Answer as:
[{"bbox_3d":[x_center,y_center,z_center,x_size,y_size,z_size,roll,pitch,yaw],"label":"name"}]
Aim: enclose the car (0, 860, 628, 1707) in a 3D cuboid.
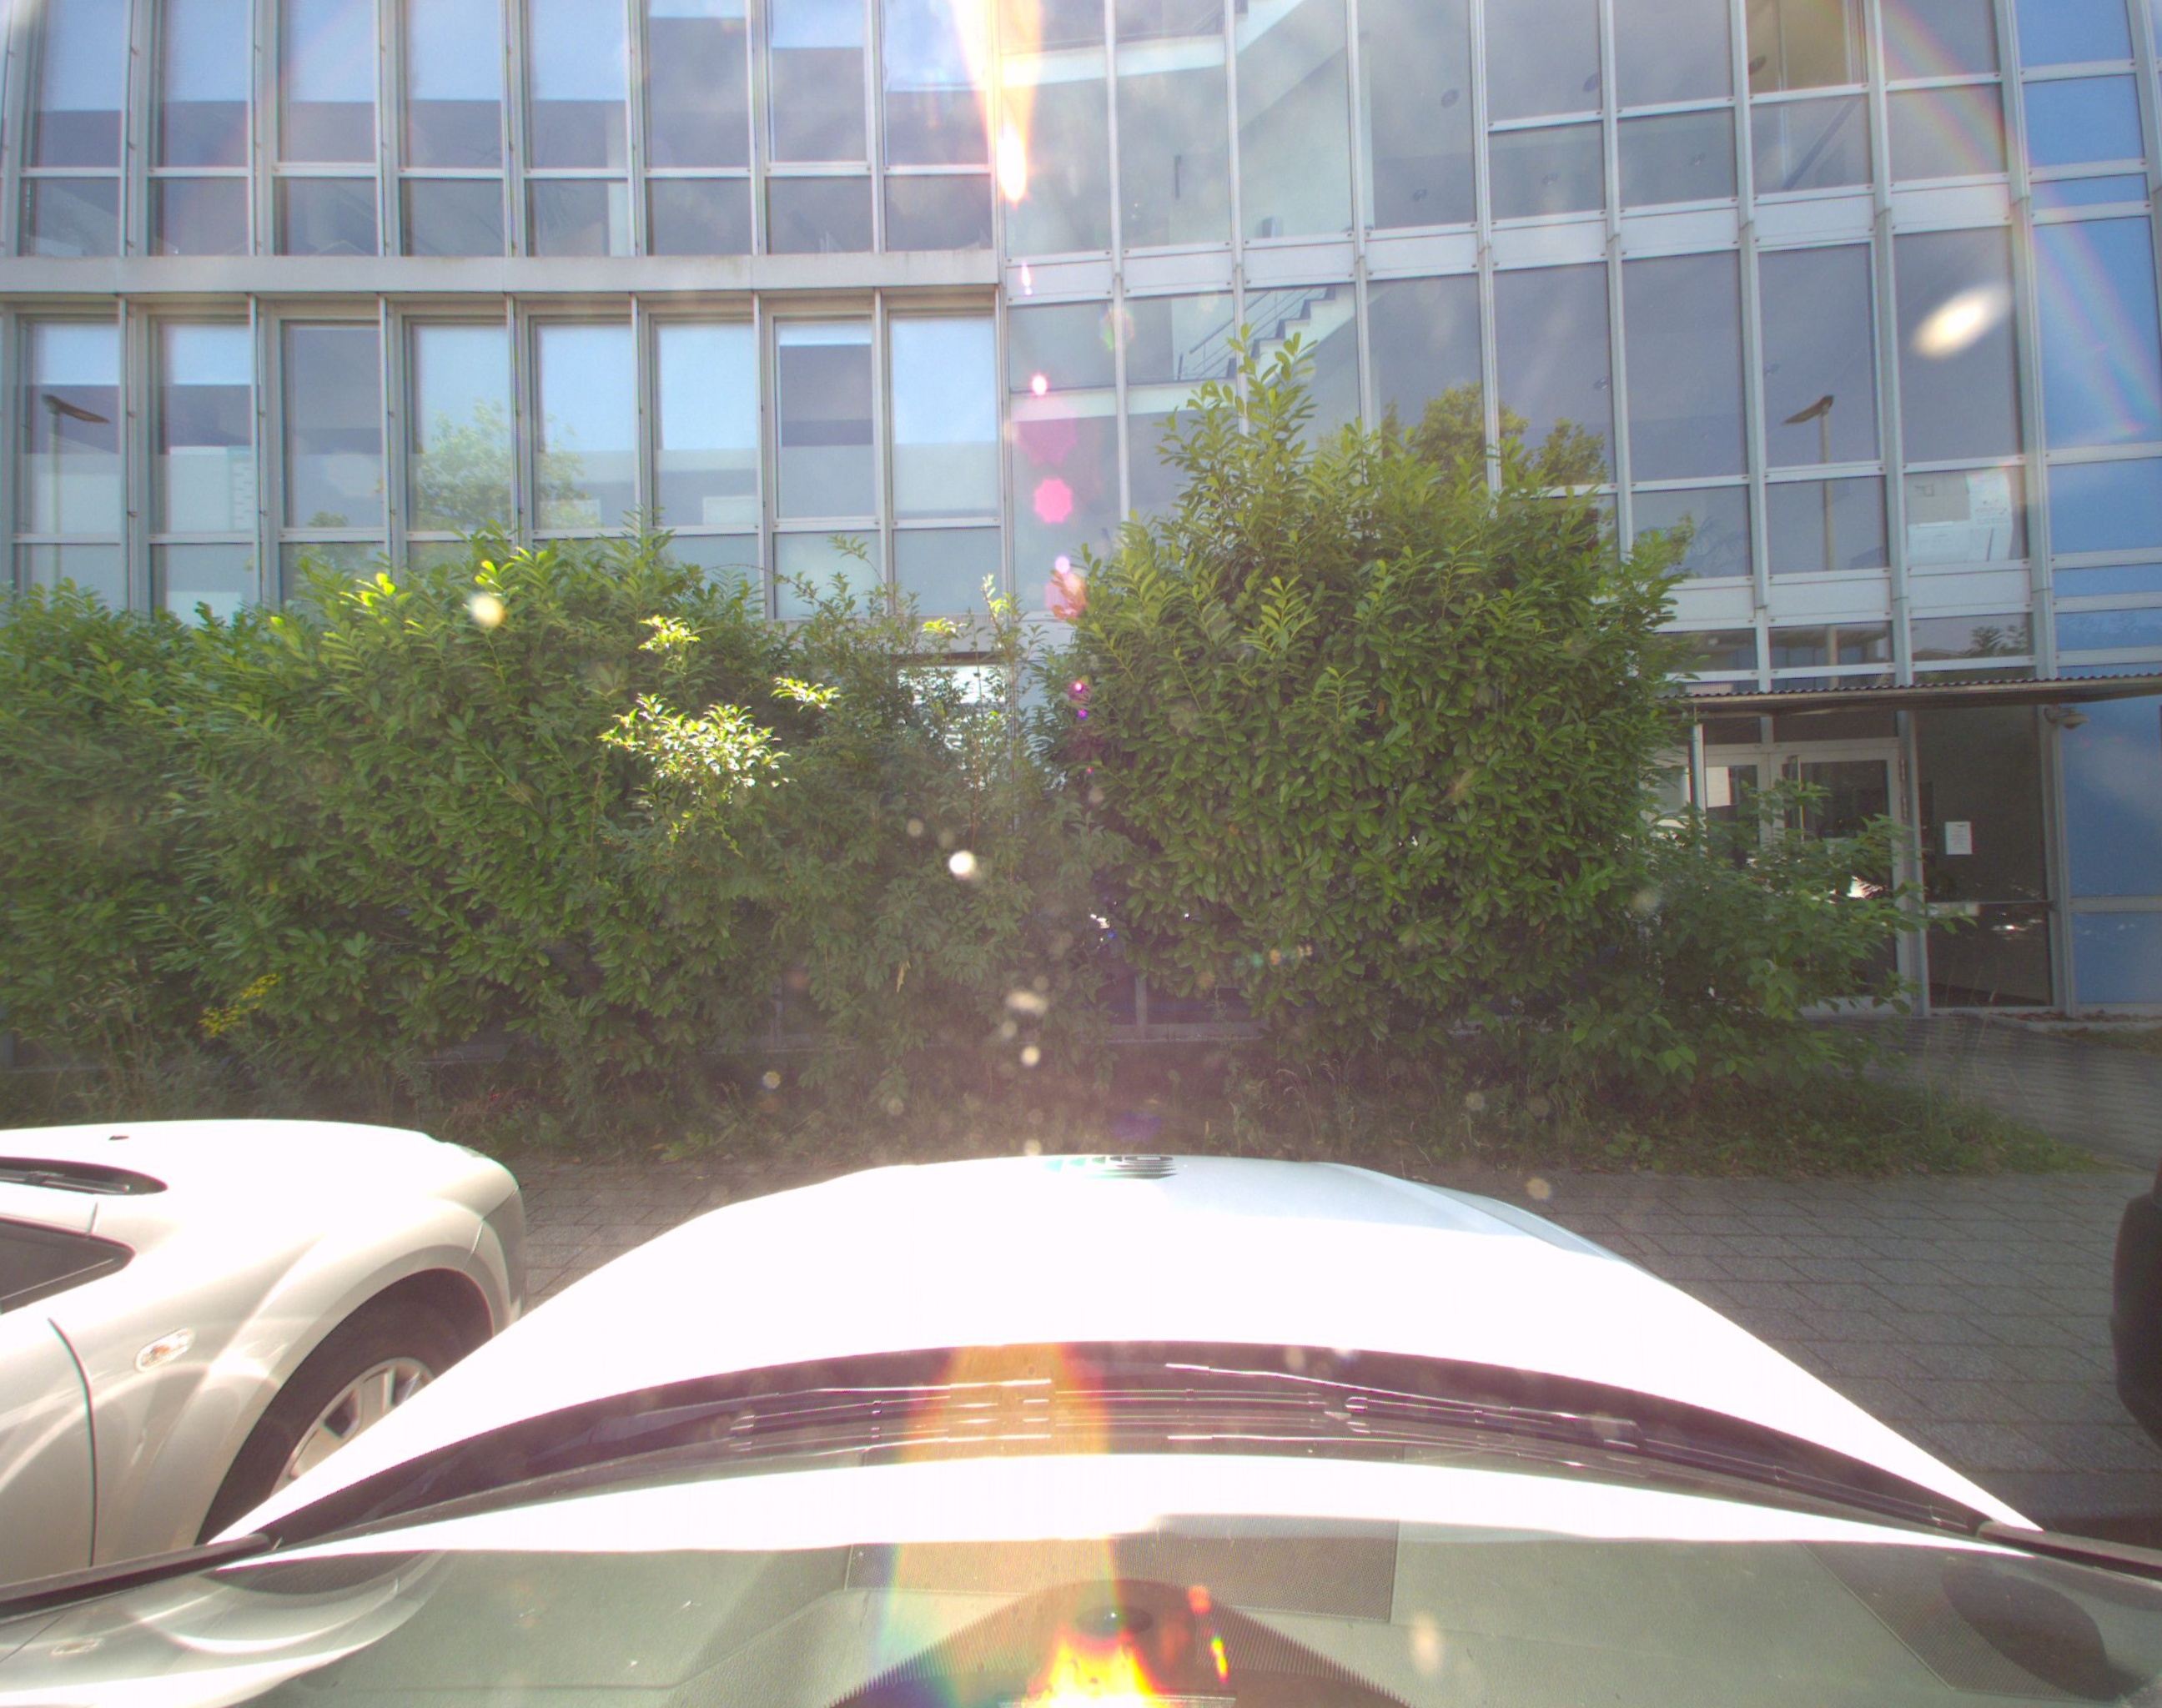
[{"bbox_3d":[-2.209,0.763,0.170,1.713,1.479,4.349,-1,0,1],"label":"car"}]
